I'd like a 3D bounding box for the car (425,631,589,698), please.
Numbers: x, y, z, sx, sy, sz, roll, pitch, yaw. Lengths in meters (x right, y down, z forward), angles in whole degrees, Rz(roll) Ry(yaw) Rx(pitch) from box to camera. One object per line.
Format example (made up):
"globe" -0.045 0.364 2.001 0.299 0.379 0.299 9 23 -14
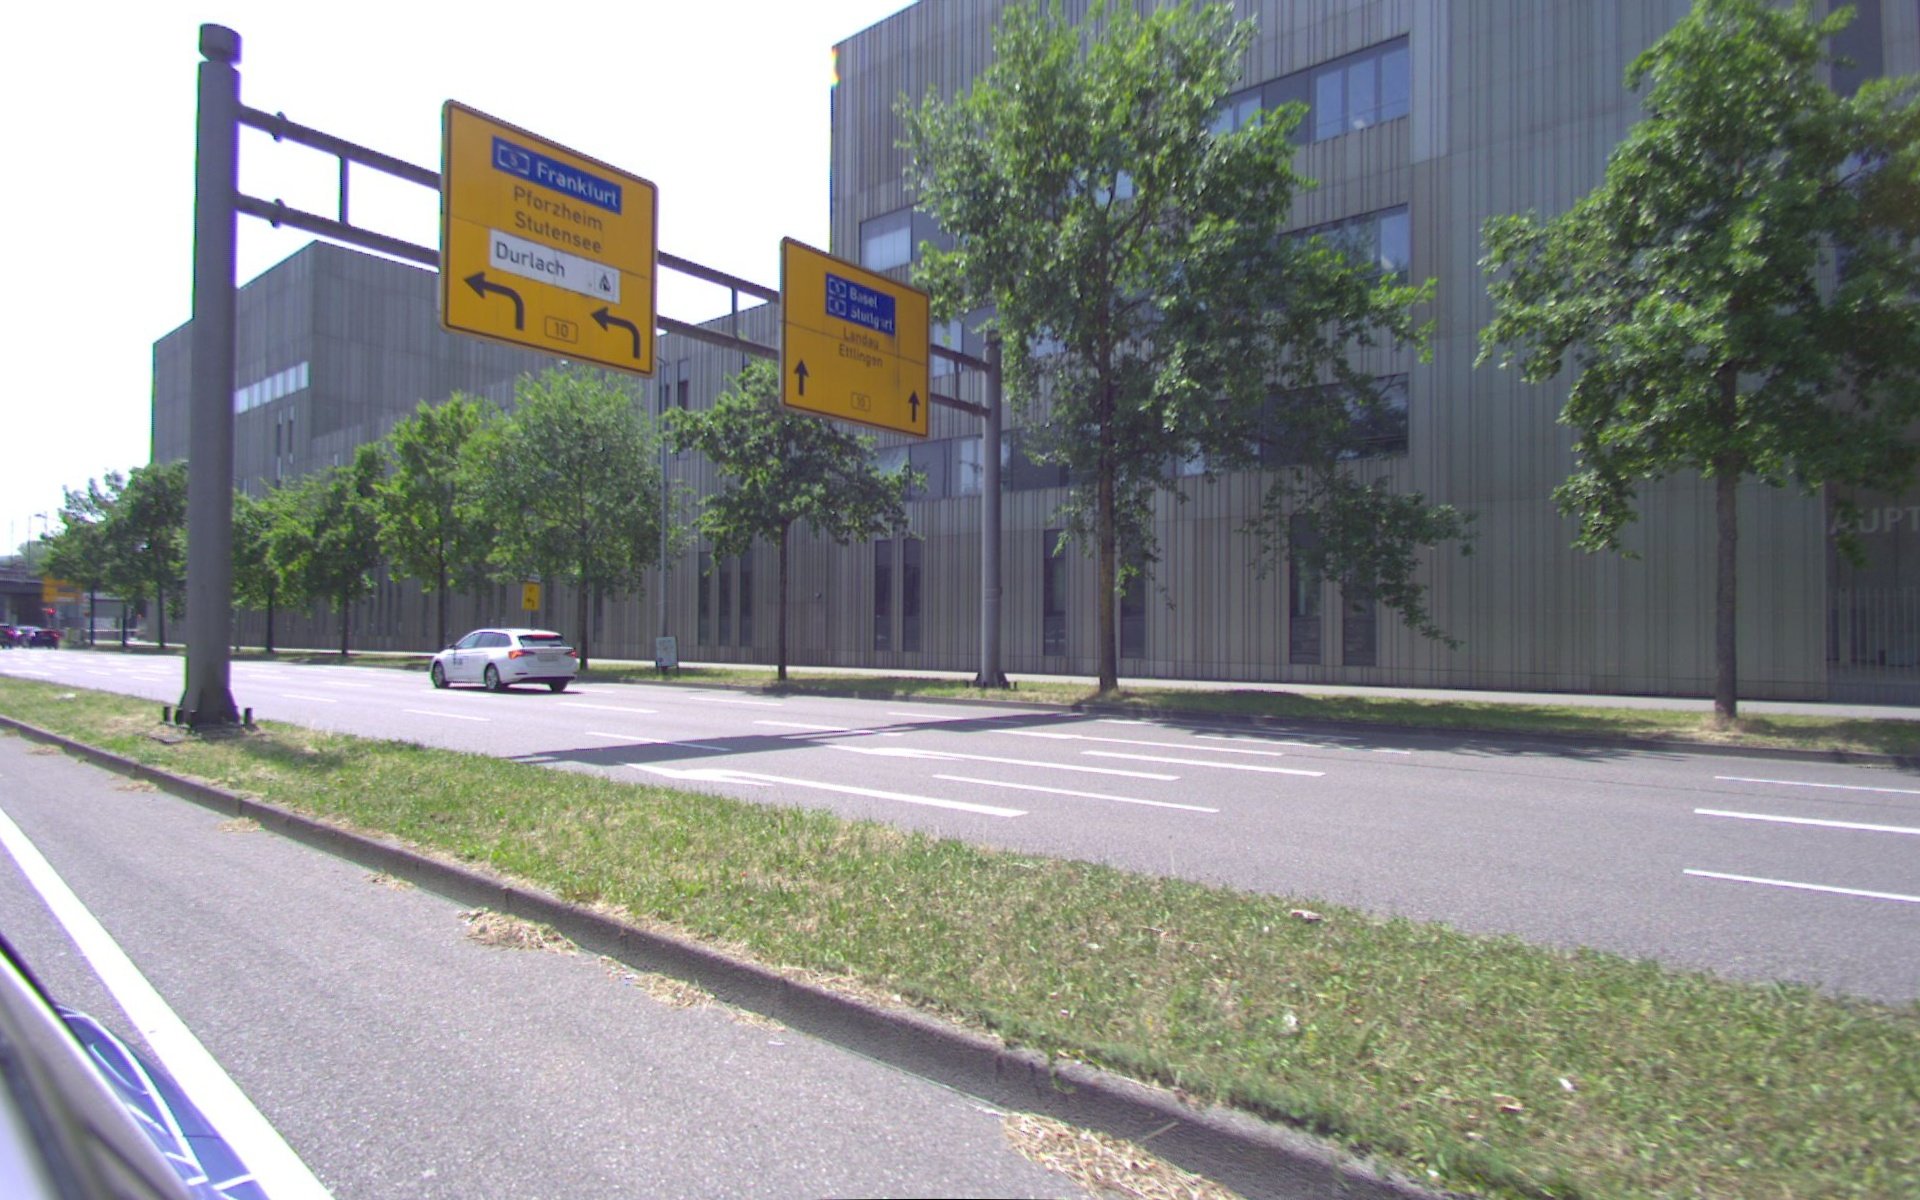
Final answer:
"car" -10.779 1.472 23.942 4.355 1.438 1.792 -2 -3 40

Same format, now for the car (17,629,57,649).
"car" -67.645 2.878 74.162 4.013 1.467 1.604 -2 -3 40

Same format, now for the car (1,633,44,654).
"car" -72.302 3.314 78.028 4.364 1.555 1.793 -1 -2 38

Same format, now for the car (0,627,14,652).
"car" -68.182 2.763 71.090 4.638 1.760 1.793 -1 -2 37
